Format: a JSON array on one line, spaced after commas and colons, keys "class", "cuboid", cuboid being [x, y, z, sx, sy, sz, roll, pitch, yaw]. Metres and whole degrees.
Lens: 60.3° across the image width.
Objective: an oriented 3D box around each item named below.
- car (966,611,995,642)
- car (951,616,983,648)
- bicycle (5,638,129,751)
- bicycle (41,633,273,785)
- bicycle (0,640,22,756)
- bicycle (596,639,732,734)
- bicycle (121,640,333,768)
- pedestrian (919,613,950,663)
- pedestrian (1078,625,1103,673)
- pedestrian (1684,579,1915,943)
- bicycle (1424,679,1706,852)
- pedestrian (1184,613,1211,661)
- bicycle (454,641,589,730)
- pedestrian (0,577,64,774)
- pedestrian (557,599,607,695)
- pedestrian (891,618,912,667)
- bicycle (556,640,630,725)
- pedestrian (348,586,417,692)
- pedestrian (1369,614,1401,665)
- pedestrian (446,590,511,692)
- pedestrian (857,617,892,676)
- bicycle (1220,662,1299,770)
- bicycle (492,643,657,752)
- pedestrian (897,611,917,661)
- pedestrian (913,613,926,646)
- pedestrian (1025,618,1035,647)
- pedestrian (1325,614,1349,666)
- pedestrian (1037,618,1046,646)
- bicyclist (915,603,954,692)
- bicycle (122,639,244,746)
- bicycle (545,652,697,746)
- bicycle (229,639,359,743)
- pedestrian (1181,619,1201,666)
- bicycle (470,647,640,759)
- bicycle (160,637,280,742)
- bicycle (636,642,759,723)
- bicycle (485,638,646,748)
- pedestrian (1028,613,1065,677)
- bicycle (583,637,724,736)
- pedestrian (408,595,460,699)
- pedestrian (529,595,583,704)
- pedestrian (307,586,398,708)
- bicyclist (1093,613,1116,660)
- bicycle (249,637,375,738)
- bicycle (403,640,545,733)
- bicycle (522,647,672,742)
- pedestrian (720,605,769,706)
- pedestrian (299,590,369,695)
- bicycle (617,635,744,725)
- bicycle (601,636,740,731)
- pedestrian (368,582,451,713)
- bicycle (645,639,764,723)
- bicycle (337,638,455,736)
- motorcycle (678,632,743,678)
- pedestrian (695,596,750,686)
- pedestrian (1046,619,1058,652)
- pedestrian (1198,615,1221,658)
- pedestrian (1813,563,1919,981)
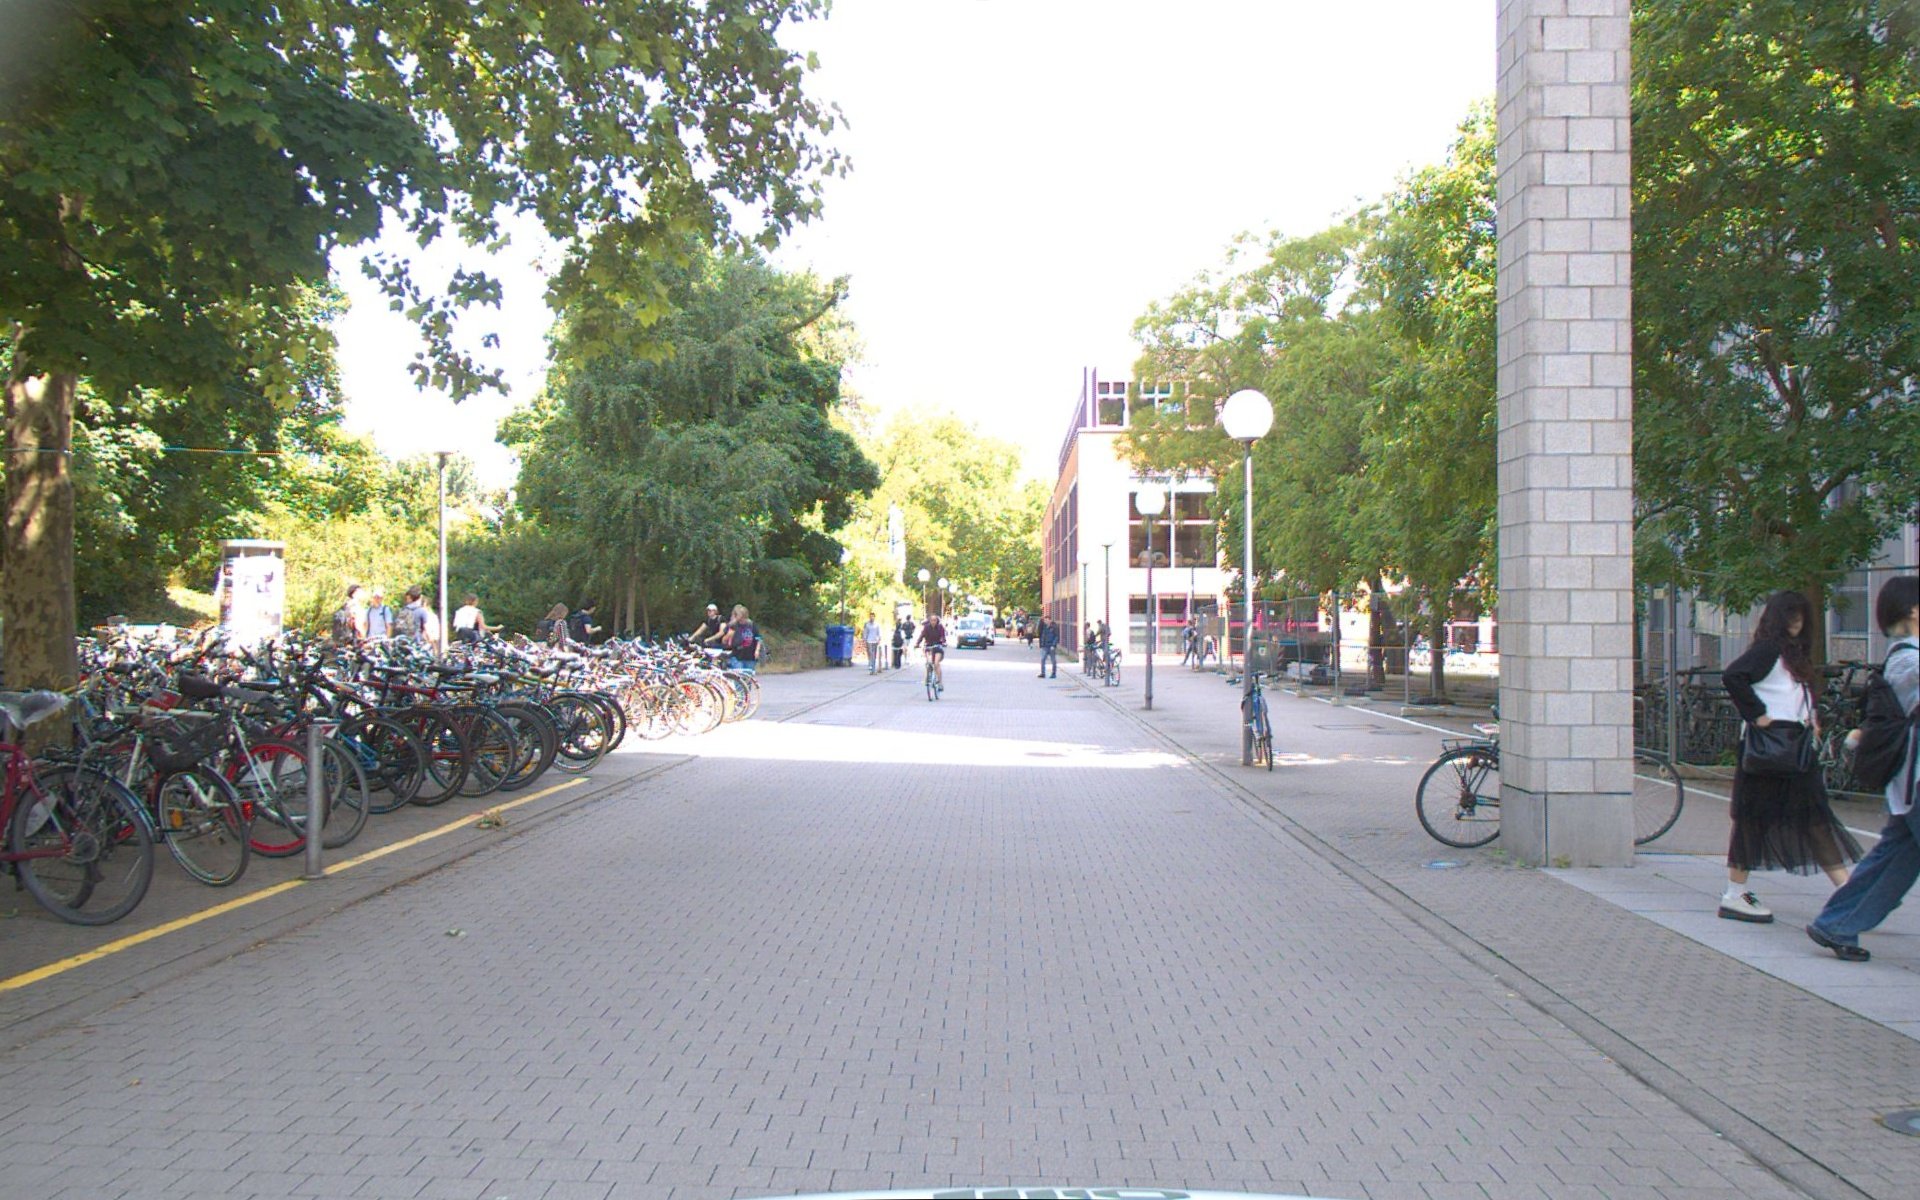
[{"class": "car", "cuboid": [1.362, 1.757, 109.613, 1.844, 2.008, 5.215, 0, 0, 1]}, {"class": "car", "cuboid": [0.408, 1.818, 96.020, 1.753, 1.792, 4.482, 0, 0, 1]}, {"class": "bicycle", "cuboid": [-9.340, 0.962, 17.275, 1.666, 1.102, 0.472, 0, -1, 37]}, {"class": "bicycle", "cuboid": [-6.767, 0.915, 13.994, 1.663, 1.241, 0.501, 1, -1, -10]}, {"class": "bicycle", "cuboid": [-9.878, 0.943, 16.302, 1.666, 1.102, 0.472, 0, -1, 37]}, {"class": "bicycle", "cuboid": [-3.754, 1.096, 20.999, 1.664, 1.189, 0.473, 1, -1, -12]}, {"class": "bicycle", "cuboid": [-6.645, 0.941, 15.050, 1.663, 1.127, 0.501, 1, -1, -10]}, {"class": "pedestrian", "cuboid": [-0.973, 1.469, 63.451, 0.711, 1.914, 1.079, 0, -2, 32]}, {"class": "pedestrian", "cuboid": [4.621, 1.718, 58.482, 0.834, 1.680, 0.588, 1, -2, 9]}, {"class": "pedestrian", "cuboid": [4.070, 0.731, 8.023, 0.800, 1.645, 0.730, 0, -1, -40]}, {"class": "bicycle", "cuboid": [3.956, 1.071, 10.858, 1.704, 1.057, 0.449, -1, 0, -4]}, {"class": "pedestrian", "cuboid": [8.805, 1.394, 61.414, 0.883, 1.759, 0.685, -1, -3, 17]}, {"class": "bicycle", "cuboid": [-5.712, 1.106, 21.561, 1.658, 1.102, 0.474, 1, -1, 14]}, {"class": "pedestrian", "cuboid": [-8.741, 0.665, 14.977, 0.888, 1.733, 0.767, 0, -1, 34]}, {"class": "pedestrian", "cuboid": [-7.046, 0.873, 30.864, 0.670, 1.754, 0.904, 1, -1, -1]}, {"class": "pedestrian", "cuboid": [-1.970, 1.428, 55.418, 0.558, 1.639, 0.916, 1, -2, -10]}, {"class": "bicycle", "cuboid": [-5.007, 1.106, 22.666, 0.496, 1.102, 1.700, 1, -1, 4]}, {"class": "pedestrian", "cuboid": [-10.258, 0.683, 29.398, 0.814, 1.847, 0.883, 1, -1, 8]}, {"class": "pedestrian", "cuboid": [14.746, 1.384, 57.433, 0.884, 1.759, 0.684, 0, -3, -3]}, {"class": "pedestrian", "cuboid": [-8.444, 0.697, 28.989, 0.928, 1.754, 0.668, 0, 0, -38]}, {"class": "pedestrian", "cuboid": [-2.788, 1.494, 53.805, 0.772, 1.877, 1.110, 2, -1, -23]}, {"class": "bicycle", "cuboid": [3.215, 1.221, 17.894, 0.526, 1.057, 1.858, -1, -1, 1]}, {"class": "bicycle", "cuboid": [-4.175, 1.046, 17.952, 1.673, 1.127, 0.470, 1, -1, -26]}, {"class": "pedestrian", "cuboid": [-1.969, 1.349, 61.947, 0.668, 1.876, 0.783, 1, -2, 1]}, {"class": "pedestrian", "cuboid": [-2.376, 1.732, 97.255, 0.668, 1.876, 0.783, 1, -2, 1]}, {"class": "pedestrian", "cuboid": [4.228, 1.959, 100.073, 0.574, 1.702, 0.817, -1, -2, 3]}, {"class": "pedestrian", "cuboid": [13.484, 1.434, 59.225, 0.750, 1.826, 0.588, -1, -2, 9]}, {"class": "pedestrian", "cuboid": [5.011, 1.970, 101.648, 0.574, 1.702, 0.817, -1, -2, 3]}, {"class": "bicyclist", "cuboid": [-0.515, 0.957, 33.211, 0.756, 1.746, 0.911, -1, -2, -2]}, {"class": "bicycle", "cuboid": [-8.517, 0.991, 18.111, 1.666, 1.102, 0.472, 0, -1, 37]}, {"class": "bicycle", "cuboid": [-3.922, 1.134, 19.211, 1.679, 1.036, 0.468, 1, -1, -34]}, {"class": "bicycle", "cuboid": [-7.525, 1.005, 18.670, 1.664, 1.102, 0.473, 0, -1, 33]}, {"class": "pedestrian", "cuboid": [8.485, 1.563, 60.672, 0.682, 1.702, 0.588, -1, -2, 9]}, {"class": "bicycle", "cuboid": [-4.190, 1.064, 17.220, 1.663, 1.127, 0.581, 1, -1, -10]}, {"class": "bicycle", "cuboid": [-8.309, 0.979, 18.550, 1.666, 1.102, 0.472, 0, -1, 37]}, {"class": "bicycle", "cuboid": [-3.695, 1.160, 23.321, 1.661, 1.110, 0.473, 1, -1, -5]}, {"class": "bicycle", "cuboid": [-4.375, 1.018, 18.369, 1.673, 1.178, 0.470, 1, -1, -26]}, {"class": "pedestrian", "cuboid": [2.616, 1.347, 50.112, 0.867, 1.890, 1.033, 1, -1, 17]}, {"class": "bicycle", "cuboid": [-3.792, 1.062, 20.458, 1.666, 1.189, 0.472, 1, -1, -16]}, {"class": "pedestrian", "cuboid": [-9.041, 0.787, 28.435, 0.678, 1.754, 0.722, 0, 0, -35]}, {"class": "pedestrian", "cuboid": [-6.639, 0.806, 27.222, 0.670, 1.754, 0.731, 1, -1, -1]}, {"class": "pedestrian", "cuboid": [-8.973, 0.672, 24.444, 0.704, 1.754, 1.061, 0, 0, 33]}, {"class": "bicyclist", "cuboid": [5.359, 1.344, 61.346, 0.651, 1.746, 0.587, 0, -1, 34]}, {"class": "bicycle", "cuboid": [-7.563, 1.001, 19.283, 1.664, 1.102, 0.473, 0, -1, 33]}, {"class": "bicycle", "cuboid": [-6.017, 1.057, 20.494, 1.658, 1.102, 0.474, 1, -1, 15]}, {"class": "bicycle", "cuboid": [-4.280, 1.105, 19.570, 1.679, 1.080, 0.468, 1, -1, -34]}, {"class": "pedestrian", "cuboid": [-3.726, 0.942, 28.544, 0.754, 1.709, 0.904, 0, 0, -14]}, {"class": "pedestrian", "cuboid": [-11.143, 0.751, 29.471, 0.751, 1.835, 0.984, 1, -1, 9]}, {"class": "bicycle", "cuboid": [-3.801, 1.091, 22.563, 1.661, 1.189, 0.473, 1, -1, -5]}, {"class": "bicycle", "cuboid": [-3.795, 1.081, 21.711, 1.738, 1.189, 0.474, 1, -1, 14]}, {"class": "pedestrian", "cuboid": [-7.999, 0.673, 24.056, 0.672, 1.867, 0.938, 0, 0, 35]}, {"class": "bicycle", "cuboid": [-3.662, 1.161, 23.790, 1.662, 1.179, 0.473, 1, -1, -8]}, {"class": "bicycle", "cuboid": [-6.775, 1.023, 19.843, 1.666, 1.102, 0.472, 0, -1, 37]}, {"class": "motorcycle", "cuboid": [-6.259, 1.366, 41.458, 1.992, 1.065, 0.471, 2, 0, 44]}, {"class": "pedestrian", "cuboid": [-5.047, 0.865, 35.138, 0.602, 1.867, 1.046, 0, -1, 35]}, {"class": "pedestrian", "cuboid": [4.827, 1.872, 86.707, 0.574, 1.702, 0.699, -1, -2, 3]}, {"class": "pedestrian", "cuboid": [9.710, 1.415, 64.409, 0.765, 1.649, 0.684, 1, -2, -1]}, {"class": "pedestrian", "cuboid": [4.148, 0.698, 6.957, 0.882, 1.699, 0.672, 0, 0, 38]}]
